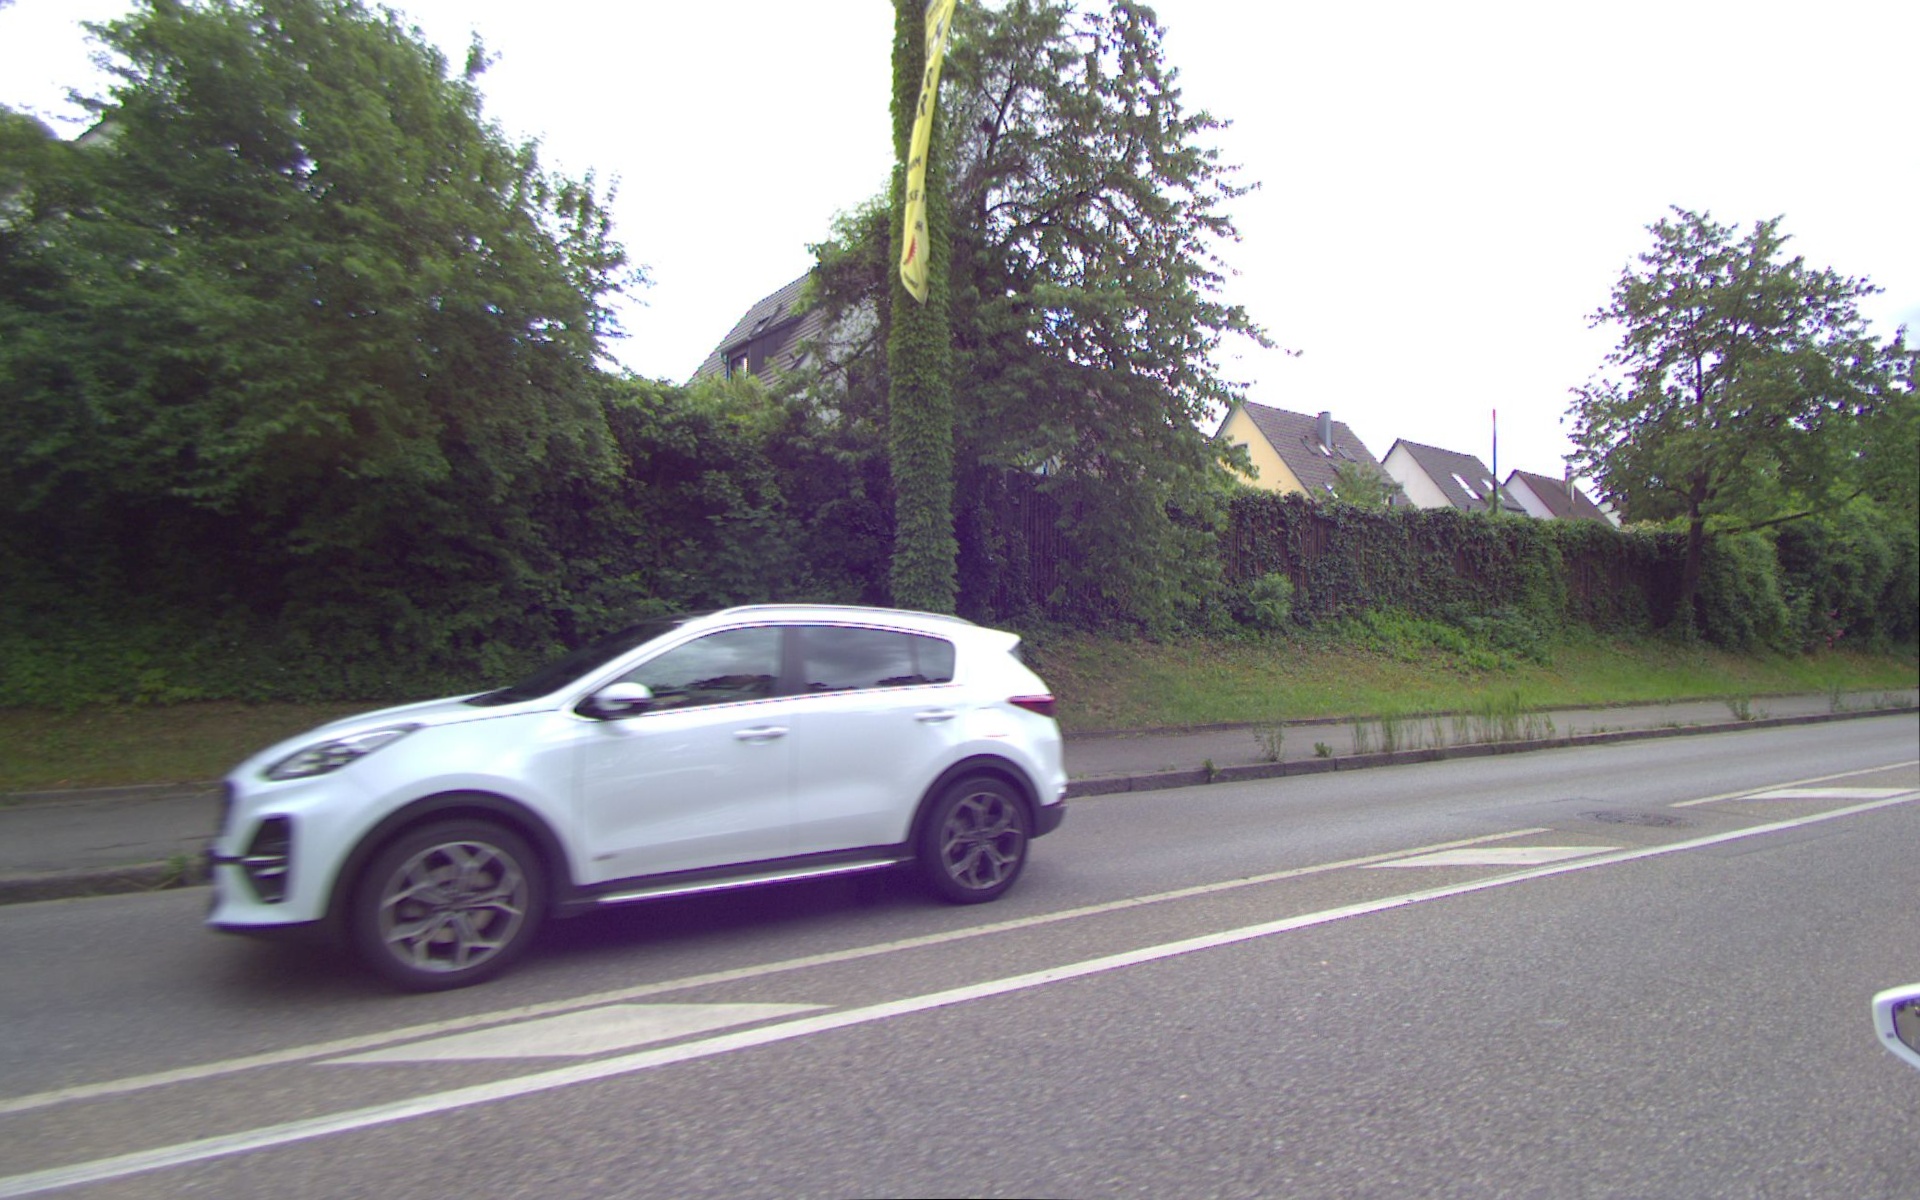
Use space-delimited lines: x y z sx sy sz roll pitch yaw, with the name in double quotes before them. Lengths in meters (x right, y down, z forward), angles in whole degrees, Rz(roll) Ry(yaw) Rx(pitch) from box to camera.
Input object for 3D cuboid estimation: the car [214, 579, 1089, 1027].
"car" -1.457 0.841 5.587 4.113 1.641 1.832 2 -3 -32
